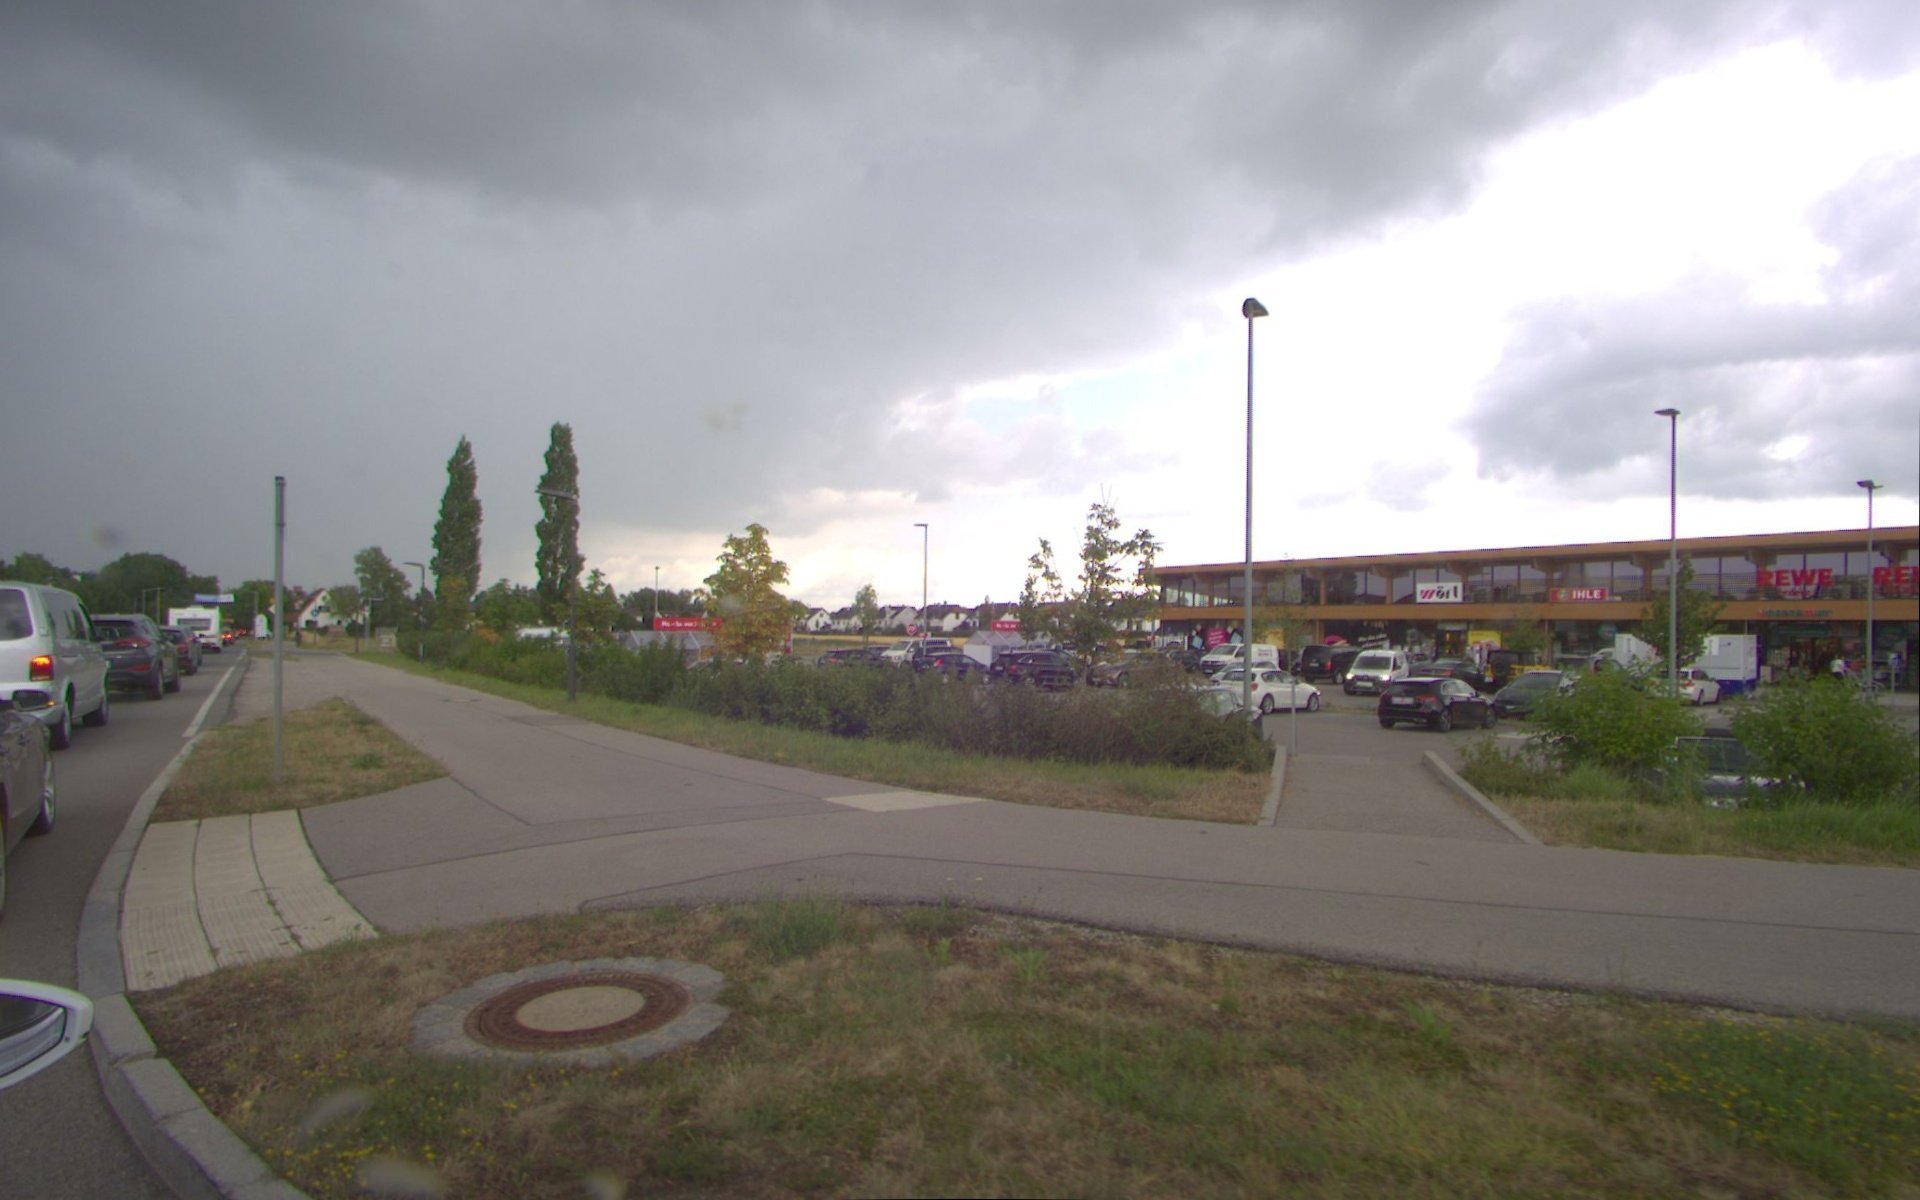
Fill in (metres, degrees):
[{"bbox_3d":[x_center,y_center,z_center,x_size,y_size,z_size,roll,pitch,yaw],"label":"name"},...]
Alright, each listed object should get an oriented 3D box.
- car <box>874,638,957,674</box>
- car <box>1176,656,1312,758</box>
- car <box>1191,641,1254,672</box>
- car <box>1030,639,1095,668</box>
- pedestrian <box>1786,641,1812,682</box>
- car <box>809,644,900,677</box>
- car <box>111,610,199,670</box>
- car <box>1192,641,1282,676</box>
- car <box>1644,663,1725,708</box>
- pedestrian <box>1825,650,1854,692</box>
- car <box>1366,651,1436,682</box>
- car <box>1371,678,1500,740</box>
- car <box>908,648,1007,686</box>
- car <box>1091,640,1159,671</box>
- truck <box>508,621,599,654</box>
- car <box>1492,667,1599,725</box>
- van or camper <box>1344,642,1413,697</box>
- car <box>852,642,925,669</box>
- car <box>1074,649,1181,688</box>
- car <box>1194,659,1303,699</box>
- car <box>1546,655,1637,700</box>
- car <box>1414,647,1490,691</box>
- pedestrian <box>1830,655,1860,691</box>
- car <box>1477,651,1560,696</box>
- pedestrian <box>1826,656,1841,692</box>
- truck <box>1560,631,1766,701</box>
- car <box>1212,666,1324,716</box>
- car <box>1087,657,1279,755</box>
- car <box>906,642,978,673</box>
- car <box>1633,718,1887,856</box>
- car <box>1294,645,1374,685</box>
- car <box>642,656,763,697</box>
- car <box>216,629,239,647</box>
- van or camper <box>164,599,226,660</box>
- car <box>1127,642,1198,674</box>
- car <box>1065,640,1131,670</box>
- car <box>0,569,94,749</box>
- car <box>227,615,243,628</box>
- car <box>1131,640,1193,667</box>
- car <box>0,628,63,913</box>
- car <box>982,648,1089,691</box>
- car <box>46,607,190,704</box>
[{"bbox_3d":[-2.689,3.364,60.899,1.979,2.040,5.079,1,-1,44],"label":"car"},{"bbox_3d":[4.262,1.499,14.663,1.552,1.221,3.751,1,-4,21],"label":"car"},{"bbox_3d":[16.859,3.607,64.206,4.066,1.918,1.784,2,-2,-37],"label":"car"},{"bbox_3d":[6.932,3.614,67.625,3.946,1.861,1.989,2,-2,-32],"label":"car"},{"bbox_3d":[42.630,3.124,50.882,0.797,2.039,0.924,1,-1,-42],"label":"pedestrian"},{"bbox_3d":[-5.696,3.250,54.255,4.515,1.686,1.986,2,-2,-36],"label":"car"},{"bbox_3d":[-23.696,1.174,29.587,1.760,1.638,3.973,1,-2,-35],"label":"car"},{"bbox_3d":[15.366,3.240,55.343,5.239,1.854,1.987,3,-3,-36],"label":"car"},{"bbox_3d":[28.219,3.287,38.966,3.958,1.549,1.716,2,-2,-41],"label":"car"},{"bbox_3d":[41.470,3.364,47.215,0.786,1.921,0.921,5,-3,-40],"label":"pedestrian"},{"bbox_3d":[23.939,3.591,54.317,4.179,1.632,1.753,3,-3,-39],"label":"car"},{"bbox_3d":[13.317,2.984,27.967,3.957,1.416,1.821,2,-2,-40],"label":"car"},{"bbox_3d":[-0.111,3.125,47.526,4.363,1.686,1.986,2,-2,-36],"label":"car"},{"bbox_3d":[10.448,3.511,63.202,3.948,1.861,1.988,2,-3,-33],"label":"car"},{"bbox_3d":[-24.842,2.328,61.262,4.760,1.896,1.984,3,-3,-40],"label":"truck"},{"bbox_3d":[18.287,2.928,31.205,3.958,1.573,1.717,2,-2,-41],"label":"car"},{"bbox_3d":[17.621,2.837,42.008,1.741,2.125,4.779,0,-2,34],"label":"van or camper"},{"bbox_3d":[-4.484,3.453,62.786,4.271,1.598,1.756,2,-2,-34],"label":"car"},{"bbox_3d":[7.702,3.086,45.813,4.929,1.685,1.986,2,-2,-36],"label":"car"},{"bbox_3d":[12.010,3.224,41.570,4.730,1.503,1.891,2,-2,-36],"label":"car"},{"bbox_3d":[25.977,3.141,41.139,4.072,1.746,1.839,3,-4,-37],"label":"car"},{"bbox_3d":[22.812,3.156,46.391,3.957,1.878,1.757,2,-2,-40],"label":"car"},{"bbox_3d":[42.316,3.485,47.890,0.736,1.679,0.805,0,-1,7],"label":"pedestrian"},{"bbox_3d":[24.697,3.214,44.249,3.951,1.878,1.760,2,-3,-36],"label":"car"},{"bbox_3d":[48.759,4.106,55.903,0.520,1.974,0.573,1,-1,-45],"label":"pedestrian"},{"bbox_3d":[31.724,2.870,45.430,2.944,2.843,7.197,2,-2,-40],"label":"truck"},{"bbox_3d":[10.176,2.943,32.987,3.954,1.503,1.669,3,-3,-40],"label":"car"},{"bbox_3d":[4.496,2.051,19.837,3.965,1.627,1.772,5,-2,-44],"label":"car"},{"bbox_3d":[-1.033,3.298,57.975,3.952,1.727,1.704,2,-3,-36],"label":"car"},{"bbox_3d":[11.133,2.520,14.254,1.552,1.389,3.729,0,-3,17],"label":"car"},{"bbox_3d":[19.223,3.332,51.439,3.953,1.860,1.986,5,-4,-36],"label":"car"},{"bbox_3d":[-10.052,2.961,39.192,4.194,1.458,1.987,2,-2,-36],"label":"car"},{"bbox_3d":[-68.973,3.533,94.306,1.598,1.651,3.593,2,-2,-34],"label":"car"},{"bbox_3d":[-44.874,1.783,58.879,2.601,3.365,6.776,2,-3,-36],"label":"van or camper"},{"bbox_3d":[12.297,3.479,60.760,3.946,1.861,1.989,2,-2,-32],"label":"car"},{"bbox_3d":[9.035,3.568,65.405,3.946,1.861,1.989,2,-2,-32],"label":"car"},{"bbox_3d":[-11.951,0.680,12.216,1.852,1.958,3.970,2,-2,-38],"label":"car"},{"bbox_3d":[-131.077,3.960,181.123,1.972,2.240,3.979,2,-2,-31],"label":"car"},{"bbox_3d":[13.923,3.698,69.052,3.948,1.794,1.988,2,-2,-34],"label":"car"},{"bbox_3d":[-6.059,0.867,5.194,1.768,1.409,4.101,0,-1,-38],"label":"car"},{"bbox_3d":[3.244,2.941,42.436,4.411,1.727,1.791,3,-3,-36],"label":"car"},{"bbox_3d":[-16.662,1.040,20.002,1.759,1.639,3.974,-3,1,-35],"label":"car"}]
